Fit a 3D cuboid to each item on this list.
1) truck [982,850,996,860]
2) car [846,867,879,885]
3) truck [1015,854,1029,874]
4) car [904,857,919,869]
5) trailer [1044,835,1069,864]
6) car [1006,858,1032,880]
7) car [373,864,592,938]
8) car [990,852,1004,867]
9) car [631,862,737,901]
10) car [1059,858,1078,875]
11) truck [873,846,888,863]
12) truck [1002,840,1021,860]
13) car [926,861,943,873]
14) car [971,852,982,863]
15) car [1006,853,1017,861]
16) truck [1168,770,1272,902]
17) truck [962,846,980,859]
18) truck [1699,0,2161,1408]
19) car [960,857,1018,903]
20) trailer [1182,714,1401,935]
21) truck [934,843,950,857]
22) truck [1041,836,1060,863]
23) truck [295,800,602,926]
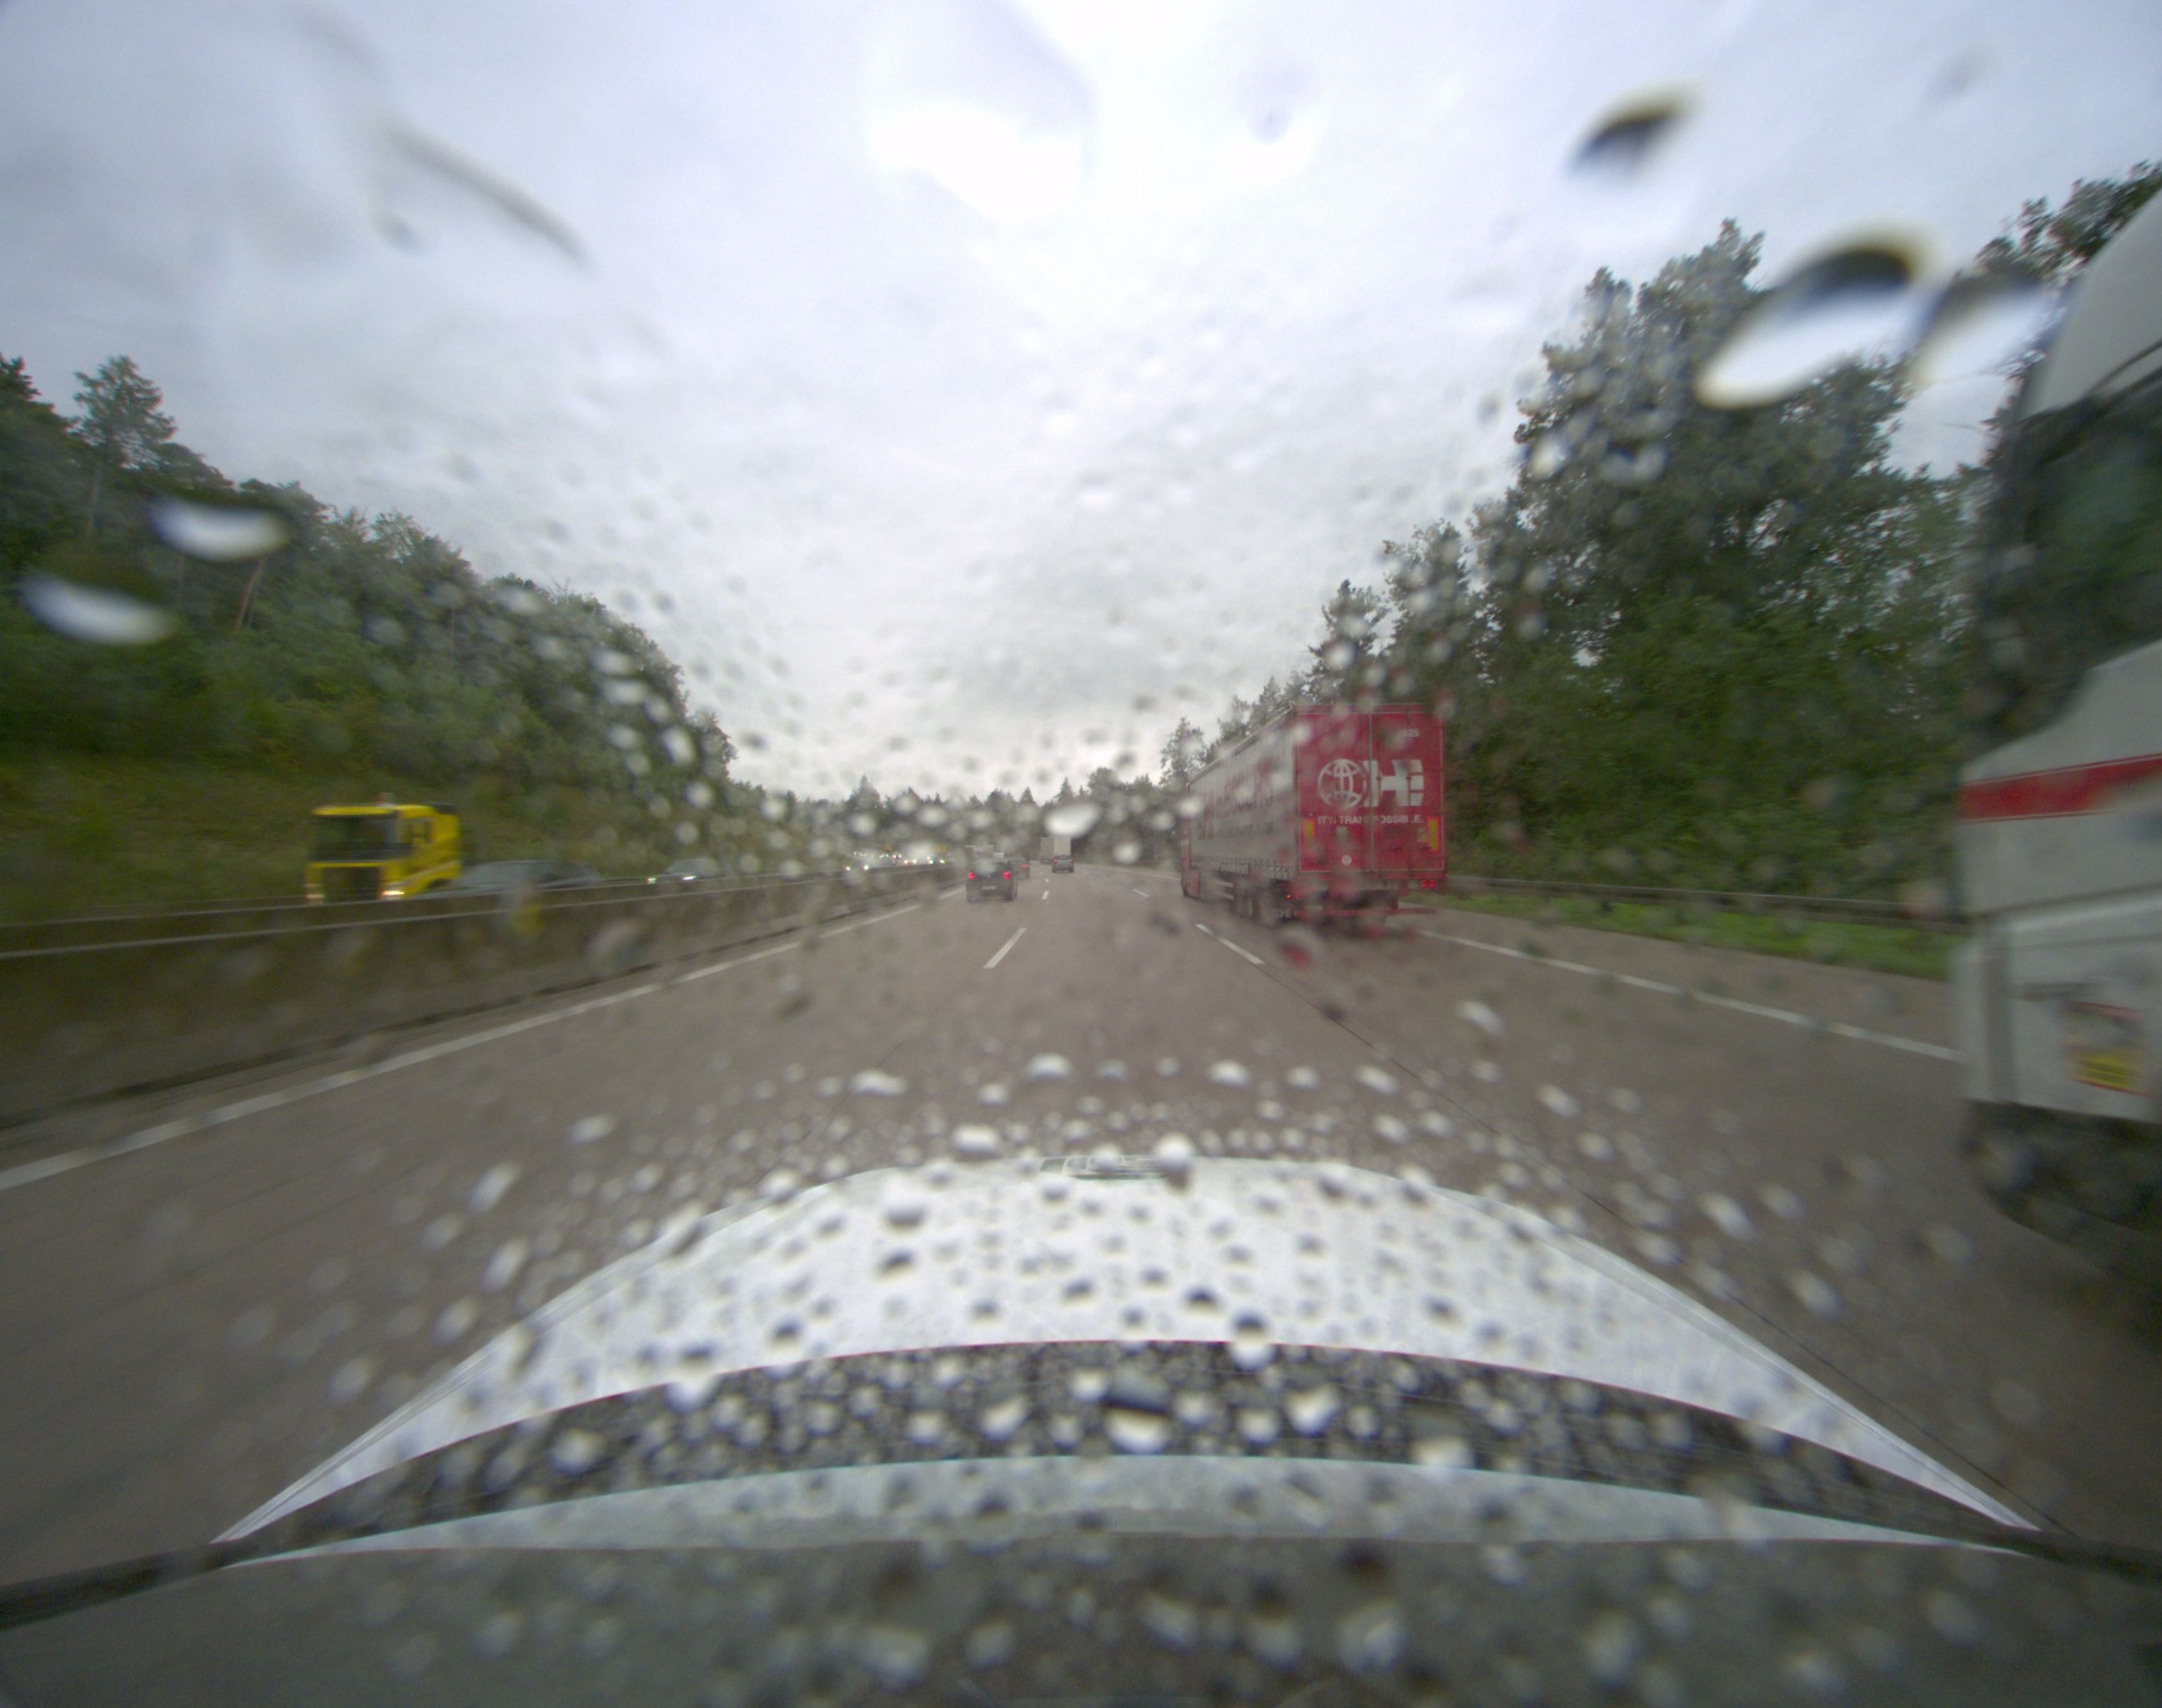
[{"bbox_3d":[-23.229,0.170,204.426,2.975,2.309,6.642,1,0,-11],"label":"truck"},{"bbox_3d":[-17.872,1.765,66.737,1.649,1.346,4.084,-1,0,-1],"label":"car"},{"bbox_3d":[-9.686,1.593,133.347,2.265,2.886,7.893,0,1,-4],"label":"truck"},{"bbox_3d":[-23.189,1.241,111.507,1.572,1.487,4.275,-1,0,-6],"label":"car"},{"bbox_3d":[-3.773,-0.712,120.395,2.418,4.068,12.022,0,1,-8],"label":"trailer"},{"bbox_3d":[-4.116,0.971,54.725,1.549,1.351,3.681,1,0,-2],"label":"car"},{"bbox_3d":[-12.551,0.913,17.447,1.648,1.346,4.085,-1,0,0],"label":"car"},{"bbox_3d":[-11.913,0.803,115.093,1.725,2.013,3.646,-1,0,-9],"label":"car"},{"bbox_3d":[-15.531,1.038,32.180,1.799,1.346,4.766,-1,0,0],"label":"car"},{"bbox_3d":[-1.070,1.088,70.858,1.548,1.351,3.684,1,0,1],"label":"car"},{"bbox_3d":[-50.495,0.139,205.395,2.927,3.960,8.090,-1,0,-10],"label":"truck"},{"bbox_3d":[-14.871,-0.838,173.328,3.368,4.131,10.407,0,1,-8],"label":"truck"},{"bbox_3d":[-19.364,1.698,107.629,1.862,1.548,3.993,-1,0,-5],"label":"car"},{"bbox_3d":[-20.459,0.708,159.597,1.993,2.059,3.987,-1,0,-9],"label":"car"},{"bbox_3d":[-12.926,0.504,150.819,1.879,1.473,3.992,1,0,-6],"label":"car"},{"bbox_3d":[4.538,-0.545,27.761,2.368,3.954,6.157,-1,0,-1],"label":"truck"},{"bbox_3d":[-25.851,-0.395,191.328,3.088,2.905,7.864,0,1,-15],"label":"truck"},{"bbox_3d":[4.110,-0.656,0.604,2.789,4.103,5.968,-1,0,0],"label":"truck"},{"bbox_3d":[-3.229,0.879,29.160,1.679,1.462,3.681,1,0,-1],"label":"car"},{"bbox_3d":[4.576,-0.533,20.950,2.363,3.954,12.518,-1,0,0],"label":"trailer"},{"bbox_3d":[-43.922,-1.147,257.053,3.751,4.210,6.774,-1,0,-19],"label":"truck"},{"bbox_3d":[-4.770,-0.748,127.557,2.418,4.068,4.965,0,0,-8],"label":"truck"},{"bbox_3d":[-19.566,0.231,26.327,2.614,3.296,9.379,-1,0,-1],"label":"truck"}]
